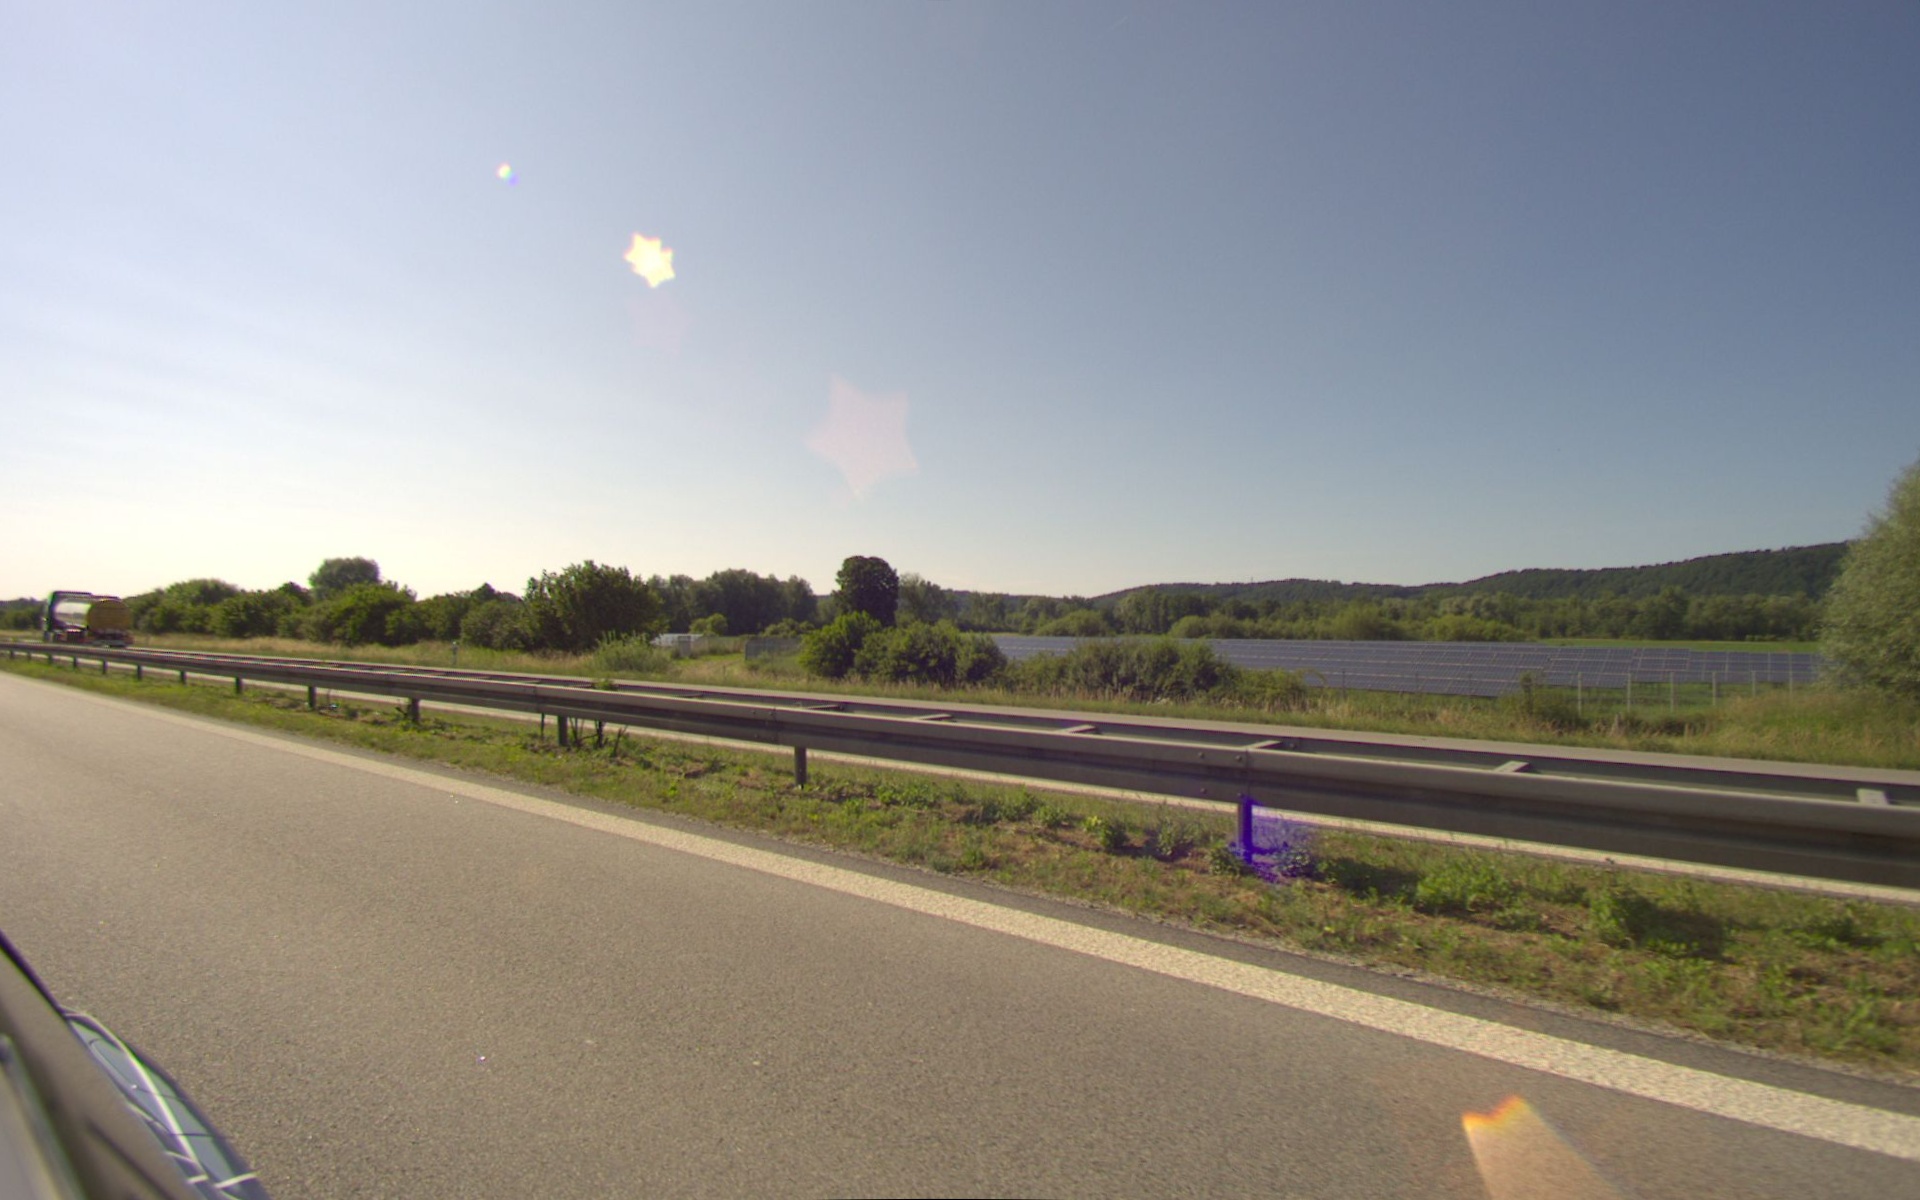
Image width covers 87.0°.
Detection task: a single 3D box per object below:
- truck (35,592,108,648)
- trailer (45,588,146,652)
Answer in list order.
[{"bbox_3d":[-61.624,1.423,70.166,5.564,3.760,2.925,-1,-3,40],"label":"truck"},{"bbox_3d":[-56.101,1.317,65.498,12.410,3.759,2.949,-1,-3,40],"label":"trailer"}]
